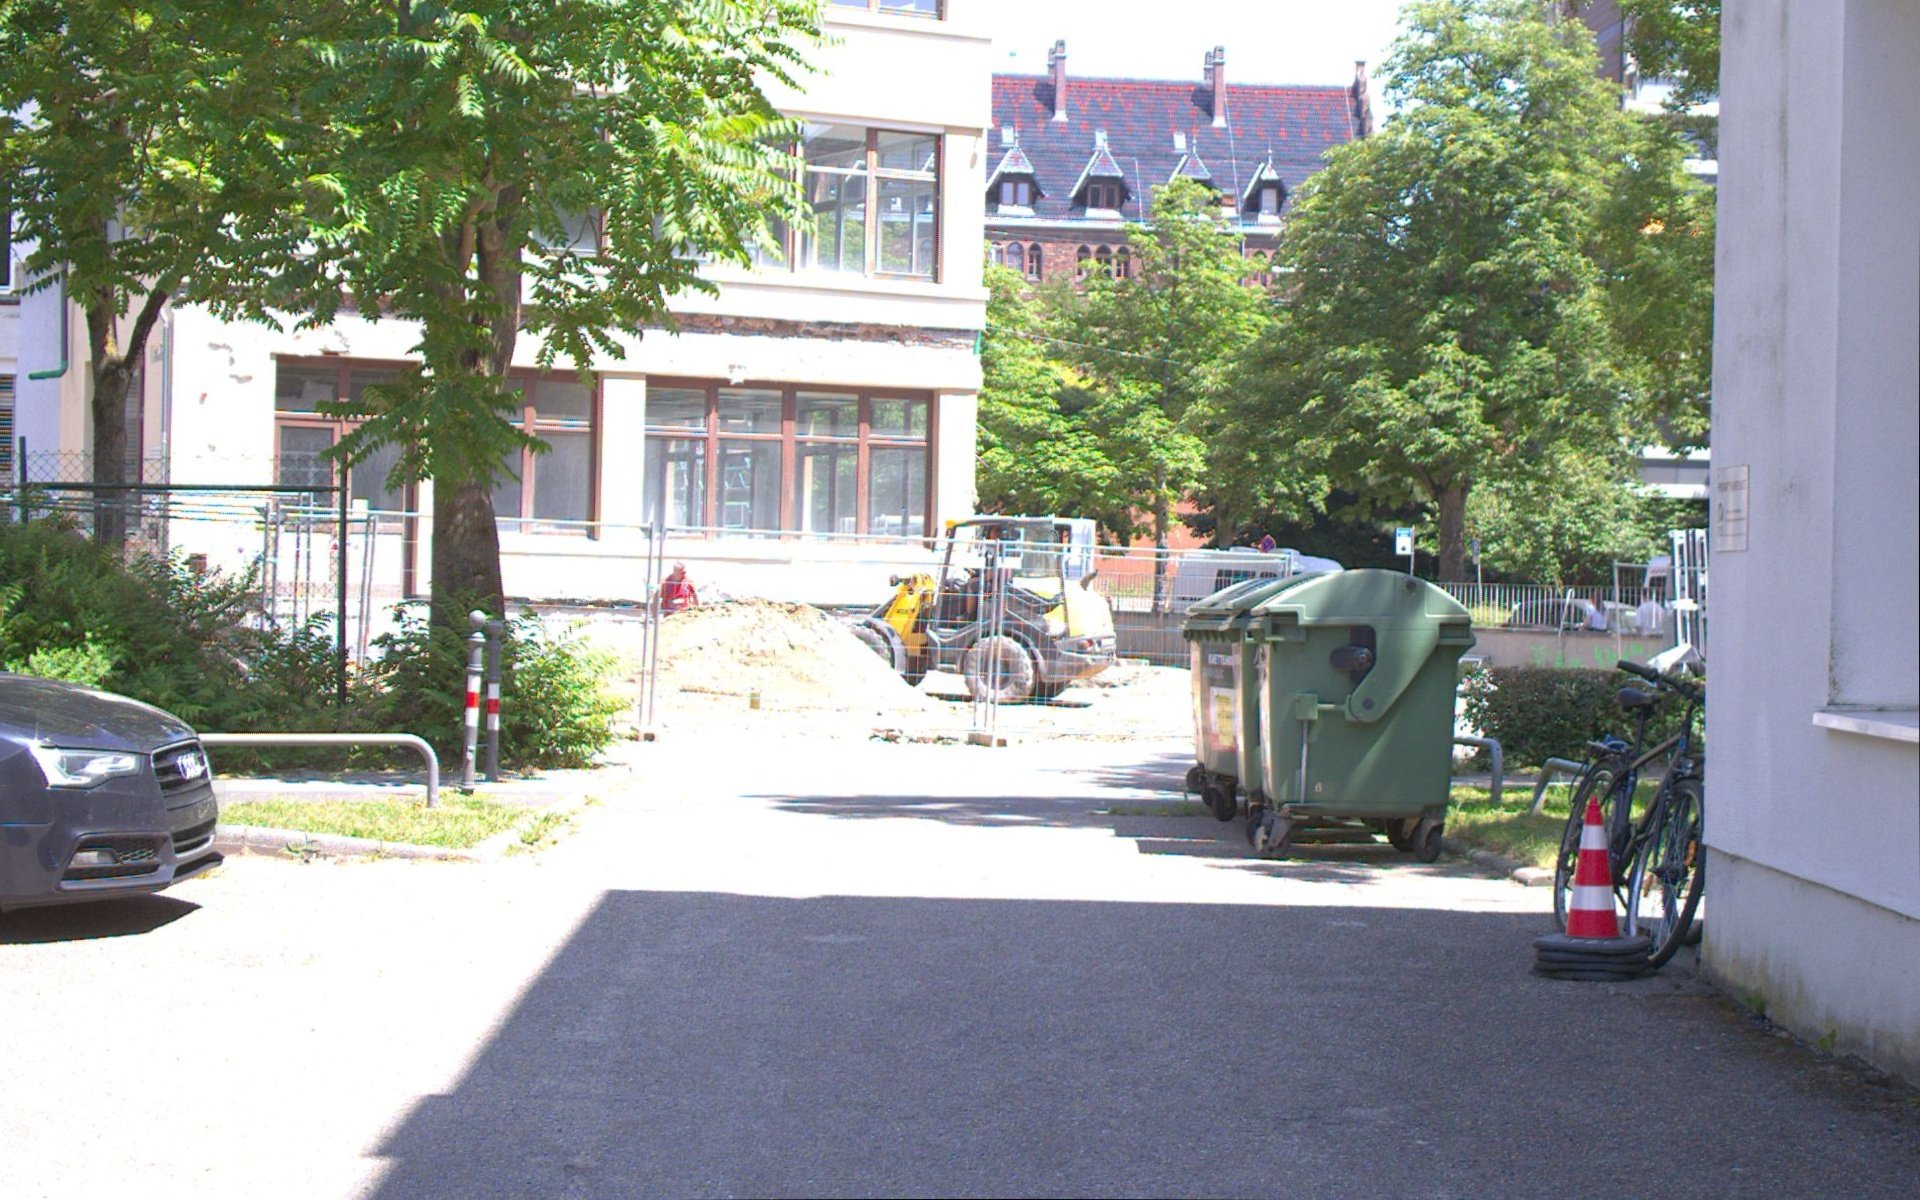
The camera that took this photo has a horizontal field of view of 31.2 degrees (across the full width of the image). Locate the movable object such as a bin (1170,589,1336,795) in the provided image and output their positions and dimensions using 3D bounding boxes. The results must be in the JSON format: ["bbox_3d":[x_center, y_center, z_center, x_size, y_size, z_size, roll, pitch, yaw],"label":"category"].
[{"bbox_3d":[2.146,0.663,25.382,1.075,1.453,1.377,1,0,0],"label":"movable object such as a bin"}]

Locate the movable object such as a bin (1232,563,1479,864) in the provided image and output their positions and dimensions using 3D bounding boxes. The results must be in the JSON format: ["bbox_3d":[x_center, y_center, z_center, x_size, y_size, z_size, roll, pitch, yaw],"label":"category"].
[{"bbox_3d":[1.992,0.557,17.536,1.075,1.453,1.377,1,0,0],"label":"movable object such as a bin"}]

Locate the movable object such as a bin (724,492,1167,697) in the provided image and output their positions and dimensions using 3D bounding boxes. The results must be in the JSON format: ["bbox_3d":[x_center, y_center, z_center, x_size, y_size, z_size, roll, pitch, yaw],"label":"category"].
[{"bbox_3d":[-0.213,-0.093,46.587,5.411,2.456,2.364,3,1,28],"label":"movable object such as a bin"}]

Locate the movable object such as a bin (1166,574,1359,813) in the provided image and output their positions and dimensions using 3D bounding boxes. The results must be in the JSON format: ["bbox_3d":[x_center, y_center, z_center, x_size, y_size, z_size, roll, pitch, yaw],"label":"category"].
[{"bbox_3d":[1.905,0.578,21.873,1.075,1.453,1.377,1,0,0],"label":"movable object such as a bin"}]

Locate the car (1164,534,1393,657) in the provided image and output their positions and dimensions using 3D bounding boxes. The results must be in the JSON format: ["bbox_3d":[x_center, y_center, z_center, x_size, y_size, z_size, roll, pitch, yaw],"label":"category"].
[{"bbox_3d":[6.496,-0.103,70.667,1.993,2.408,5.244,1,0,-30],"label":"car"}]

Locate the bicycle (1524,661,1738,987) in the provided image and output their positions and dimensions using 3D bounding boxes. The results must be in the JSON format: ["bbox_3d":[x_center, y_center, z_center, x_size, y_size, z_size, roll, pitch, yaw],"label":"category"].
[{"bbox_3d":[2.492,0.799,12.913,0.405,1.098,1.826,1,0,-1],"label":"bicycle"}]

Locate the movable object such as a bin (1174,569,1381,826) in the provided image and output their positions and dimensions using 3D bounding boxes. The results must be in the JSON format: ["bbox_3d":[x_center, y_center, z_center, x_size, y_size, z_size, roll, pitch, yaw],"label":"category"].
[{"bbox_3d":[1.866,0.559,20.451,1.075,1.453,1.377,1,0,0],"label":"movable object such as a bin"}]

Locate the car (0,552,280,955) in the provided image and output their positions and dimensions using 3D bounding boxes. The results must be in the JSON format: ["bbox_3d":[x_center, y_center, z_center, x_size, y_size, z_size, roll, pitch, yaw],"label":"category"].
[{"bbox_3d":[-4.999,0.484,12.922,4.429,1.375,2.023,1,0,2],"label":"car"}]

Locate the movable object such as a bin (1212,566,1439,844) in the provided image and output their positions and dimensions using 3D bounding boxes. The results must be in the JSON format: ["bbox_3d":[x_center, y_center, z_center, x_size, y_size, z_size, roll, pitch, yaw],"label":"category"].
[{"bbox_3d":[1.994,0.559,18.980,1.075,1.453,1.377,1,0,0],"label":"movable object such as a bin"}]

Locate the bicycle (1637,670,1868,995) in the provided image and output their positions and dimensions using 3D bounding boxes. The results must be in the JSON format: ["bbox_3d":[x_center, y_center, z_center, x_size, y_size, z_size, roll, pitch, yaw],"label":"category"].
[{"bbox_3d":[2.959,0.833,12.969,0.405,1.098,1.826,1,0,-1],"label":"bicycle"}]

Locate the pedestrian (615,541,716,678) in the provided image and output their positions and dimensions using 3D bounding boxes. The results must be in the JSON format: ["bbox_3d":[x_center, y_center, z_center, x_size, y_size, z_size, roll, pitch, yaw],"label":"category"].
[{"bbox_3d":[-4.032,0.131,47.138,0.985,1.840,0.915,1,0,35],"label":"pedestrian"}]

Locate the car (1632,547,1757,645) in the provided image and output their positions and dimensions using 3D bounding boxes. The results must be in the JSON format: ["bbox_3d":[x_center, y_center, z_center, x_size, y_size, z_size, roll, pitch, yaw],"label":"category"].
[{"bbox_3d":[17.705,-0.080,82.705,2.186,2.250,4.863,1,0,21],"label":"car"}]
